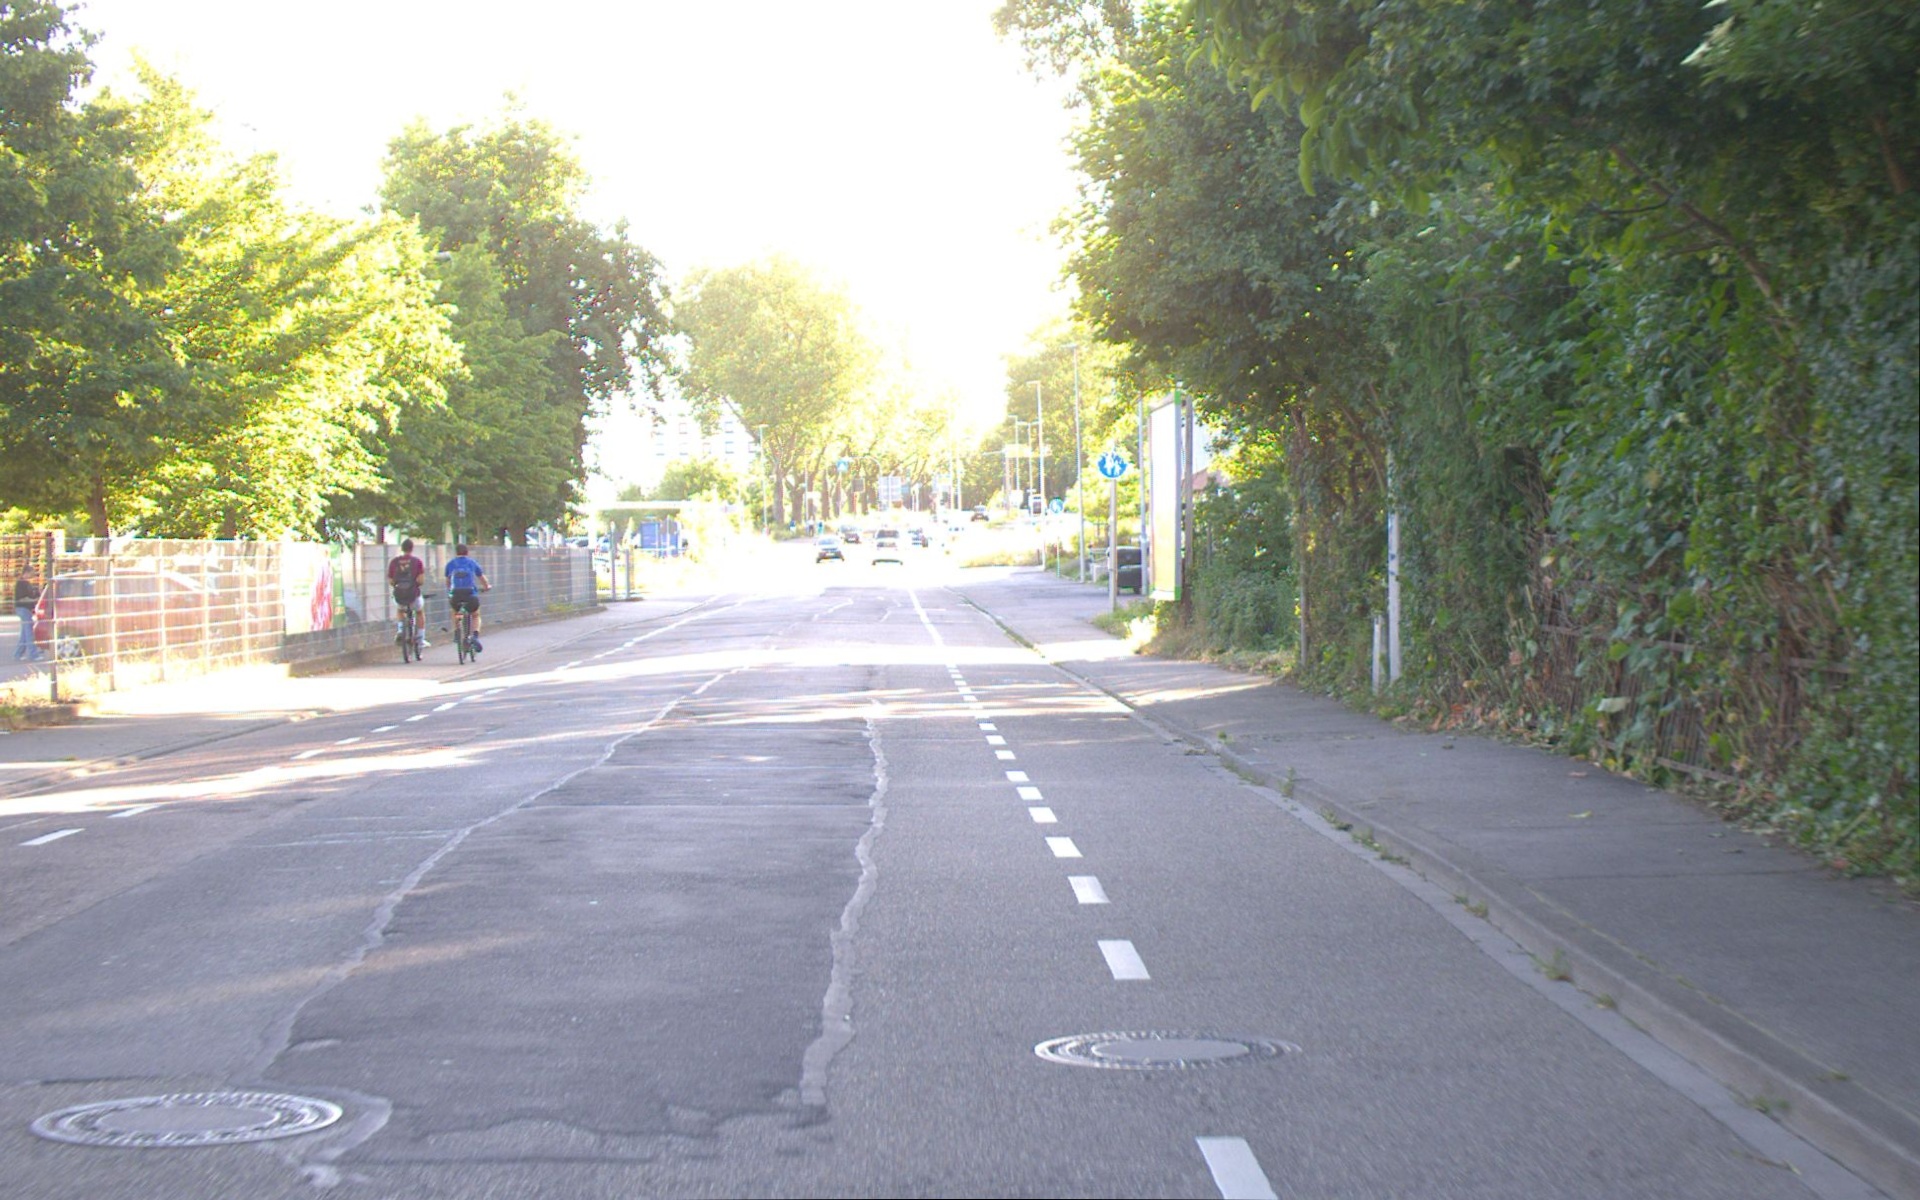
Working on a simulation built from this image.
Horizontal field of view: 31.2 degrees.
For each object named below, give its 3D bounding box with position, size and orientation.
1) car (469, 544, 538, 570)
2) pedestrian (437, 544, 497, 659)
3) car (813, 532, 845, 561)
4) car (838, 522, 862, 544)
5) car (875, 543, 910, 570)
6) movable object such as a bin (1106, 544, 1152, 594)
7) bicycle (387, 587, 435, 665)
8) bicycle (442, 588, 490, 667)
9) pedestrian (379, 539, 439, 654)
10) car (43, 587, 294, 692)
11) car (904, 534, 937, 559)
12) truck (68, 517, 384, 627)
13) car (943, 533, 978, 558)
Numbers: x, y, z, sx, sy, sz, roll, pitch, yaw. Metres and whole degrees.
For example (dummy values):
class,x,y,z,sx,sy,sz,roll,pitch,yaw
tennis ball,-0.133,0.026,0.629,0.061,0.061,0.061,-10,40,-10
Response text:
class,x,y,z,sx,sy,sz,roll,pitch,yaw
car,-29.847,-2.839,224.821,4.321,1.612,1.878,-1,1,-2
pedestrian,-7.472,0.016,52.120,0.721,1.715,1.057,-1,1,-1
car,-7.698,-3.165,202.194,1.740,1.520,4.112,-5,1,-1
car,-8.103,-4.949,253.774,1.654,1.498,4.000,-2,0,-1
car,-3.672,-2.394,188.754,1.790,1.415,4.000,-1,1,1
movable object such as a bin,4.730,-0.884,96.337,1.128,1.367,1.345,-1,1,-2
bicycle,-8.320,0.391,52.159,0.470,1.144,1.869,0,1,-1
bicycle,-7.475,0.407,52.060,0.446,1.144,2.201,0,1,-1
pedestrian,-8.359,-0.057,52.184,0.721,1.715,1.057,-1,1,-1
car,-13.142,0.642,57.251,3.725,1.446,1.806,-4,1,-3
car,-2.724,-3.691,236.718,2.163,1.678,4.000,-1,1,-1
truck,-24.818,-0.941,116.562,10.097,3.602,2.776,-1,0,-2
car,0.042,-3.845,241.729,2.163,1.678,4.001,-1,1,-4
